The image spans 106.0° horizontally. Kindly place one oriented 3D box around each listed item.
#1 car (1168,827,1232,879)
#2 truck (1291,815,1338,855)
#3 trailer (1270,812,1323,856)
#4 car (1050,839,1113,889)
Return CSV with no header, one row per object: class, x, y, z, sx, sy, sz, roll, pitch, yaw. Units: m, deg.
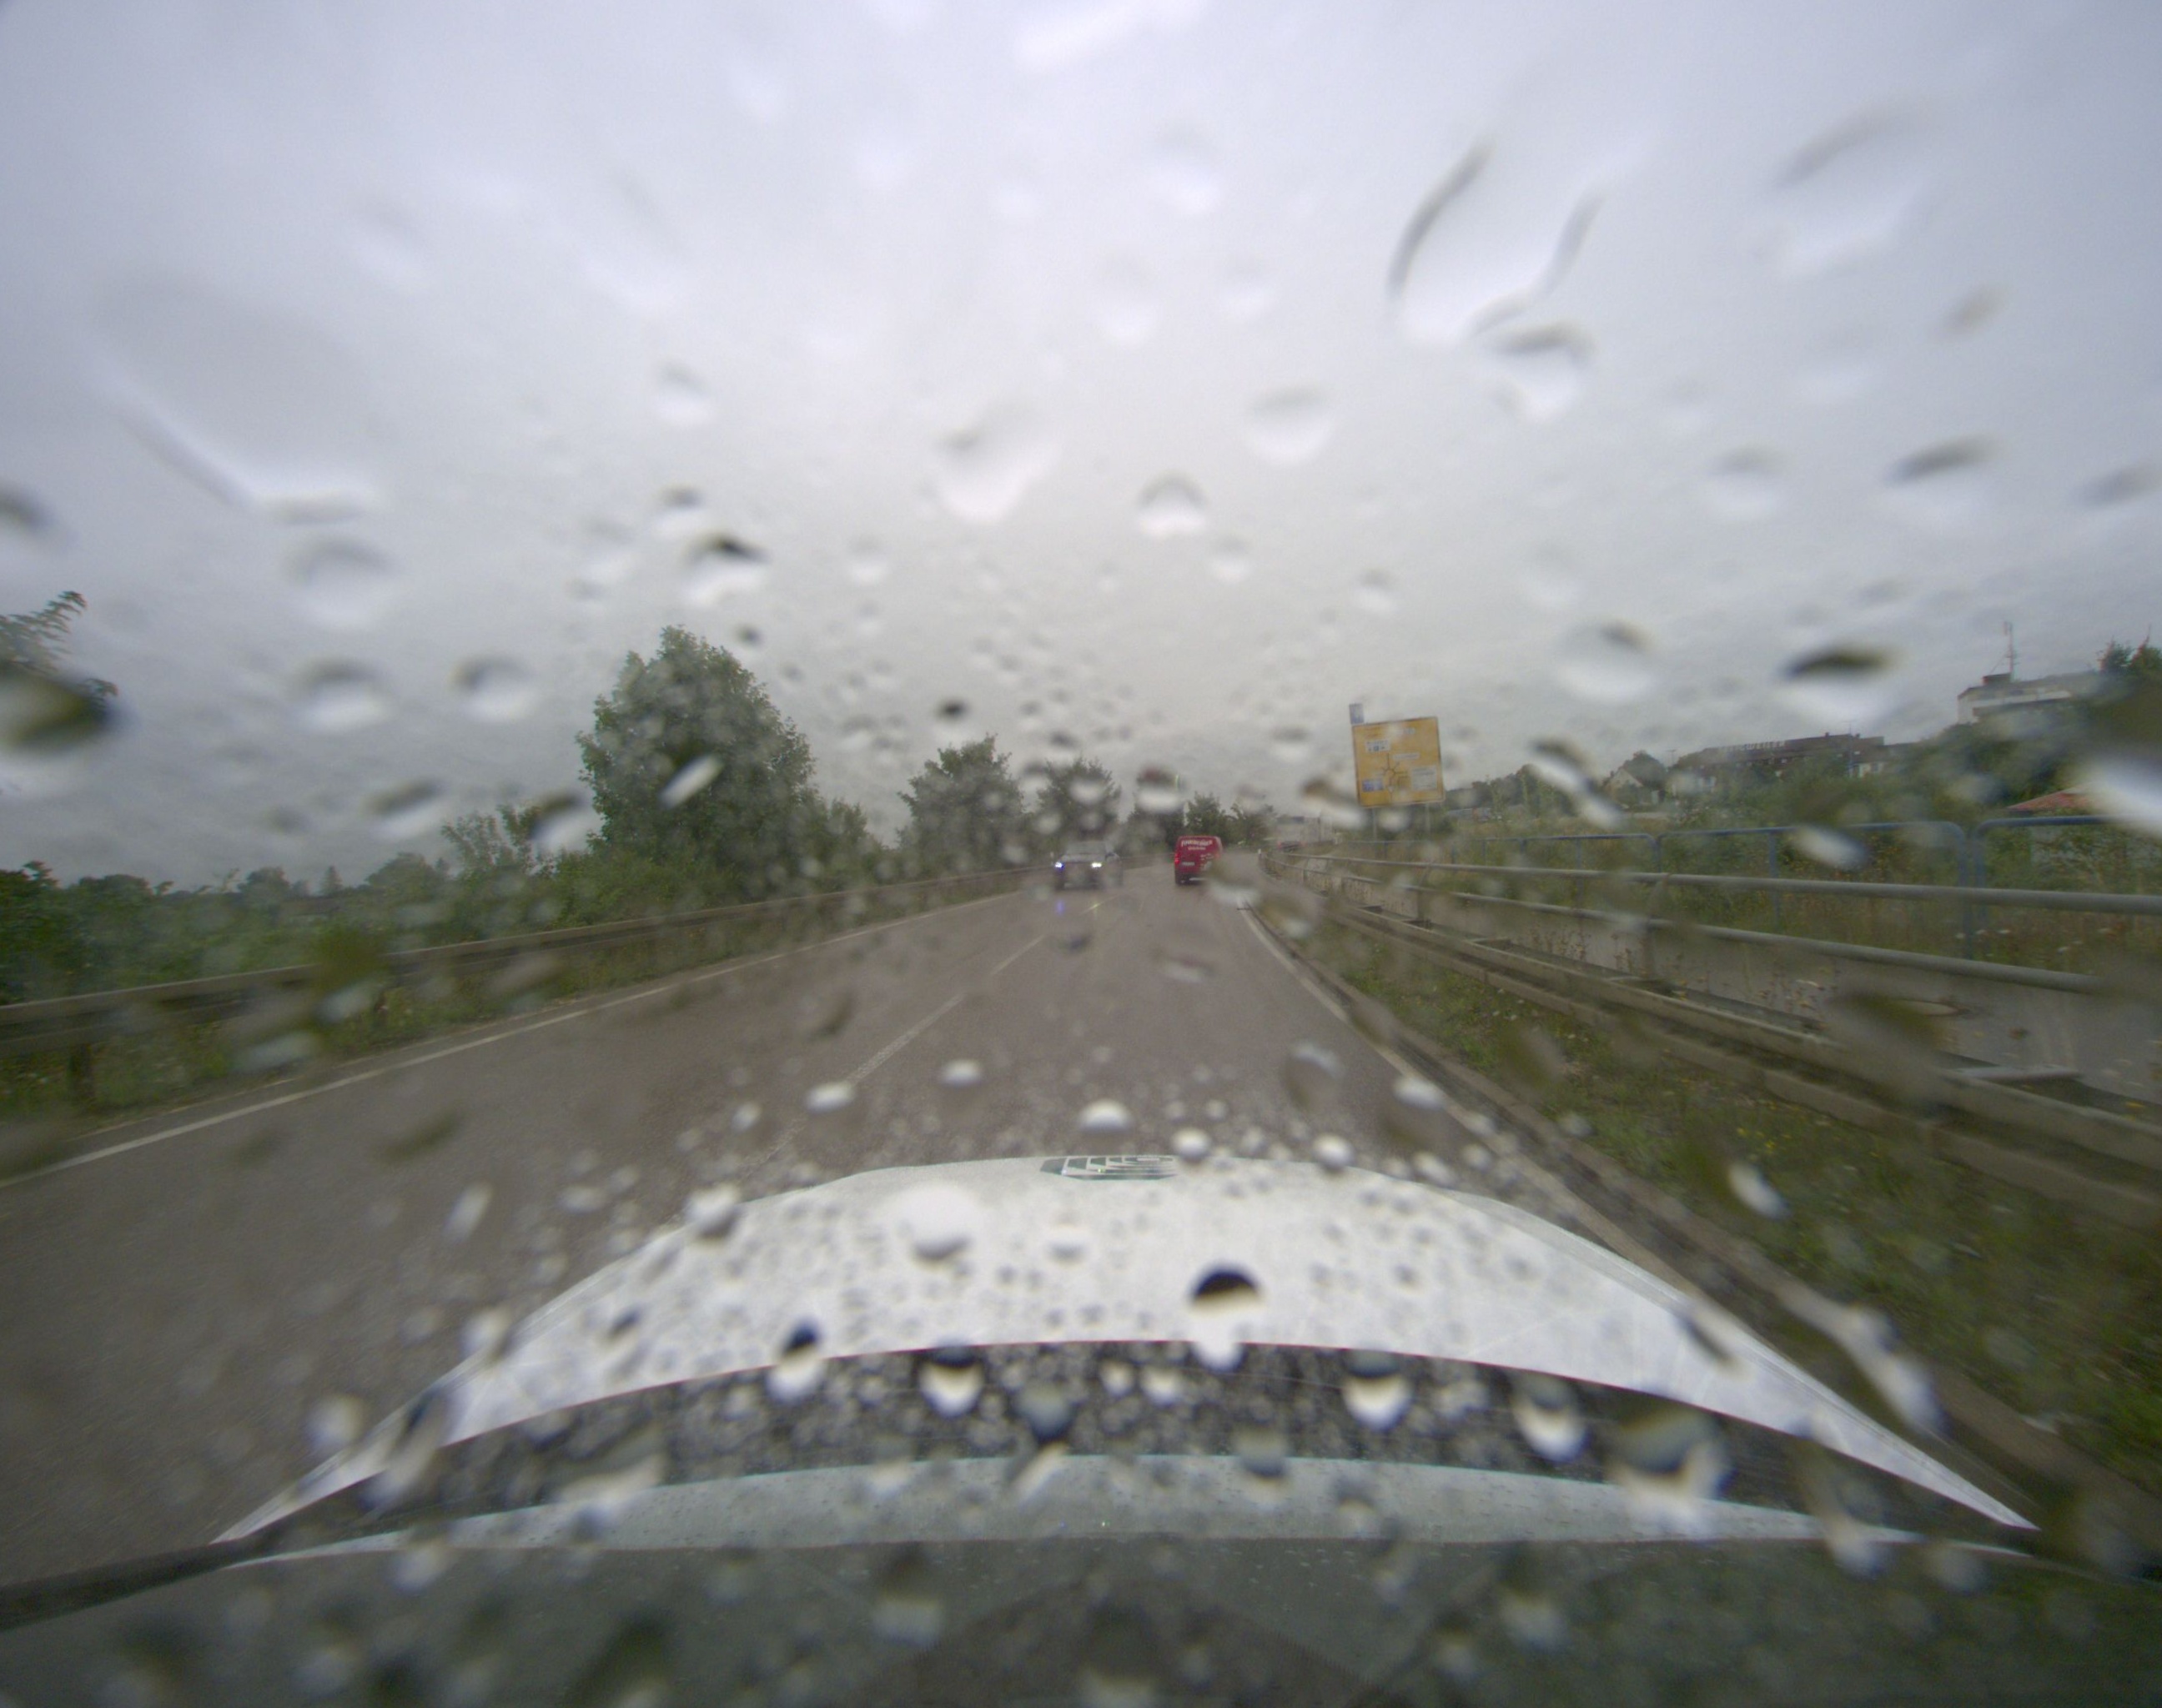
car,4.982,-0.096,33.608,1.978,1.925,4.161,-4,1,16
truck,24.694,-1.964,85.916,3.172,3.922,8.791,-1,0,26
trailer,20.762,-1.852,78.009,3.172,3.922,8.791,-1,0,26
car,0.102,0.347,30.996,1.984,1.727,4.006,-1,0,5
